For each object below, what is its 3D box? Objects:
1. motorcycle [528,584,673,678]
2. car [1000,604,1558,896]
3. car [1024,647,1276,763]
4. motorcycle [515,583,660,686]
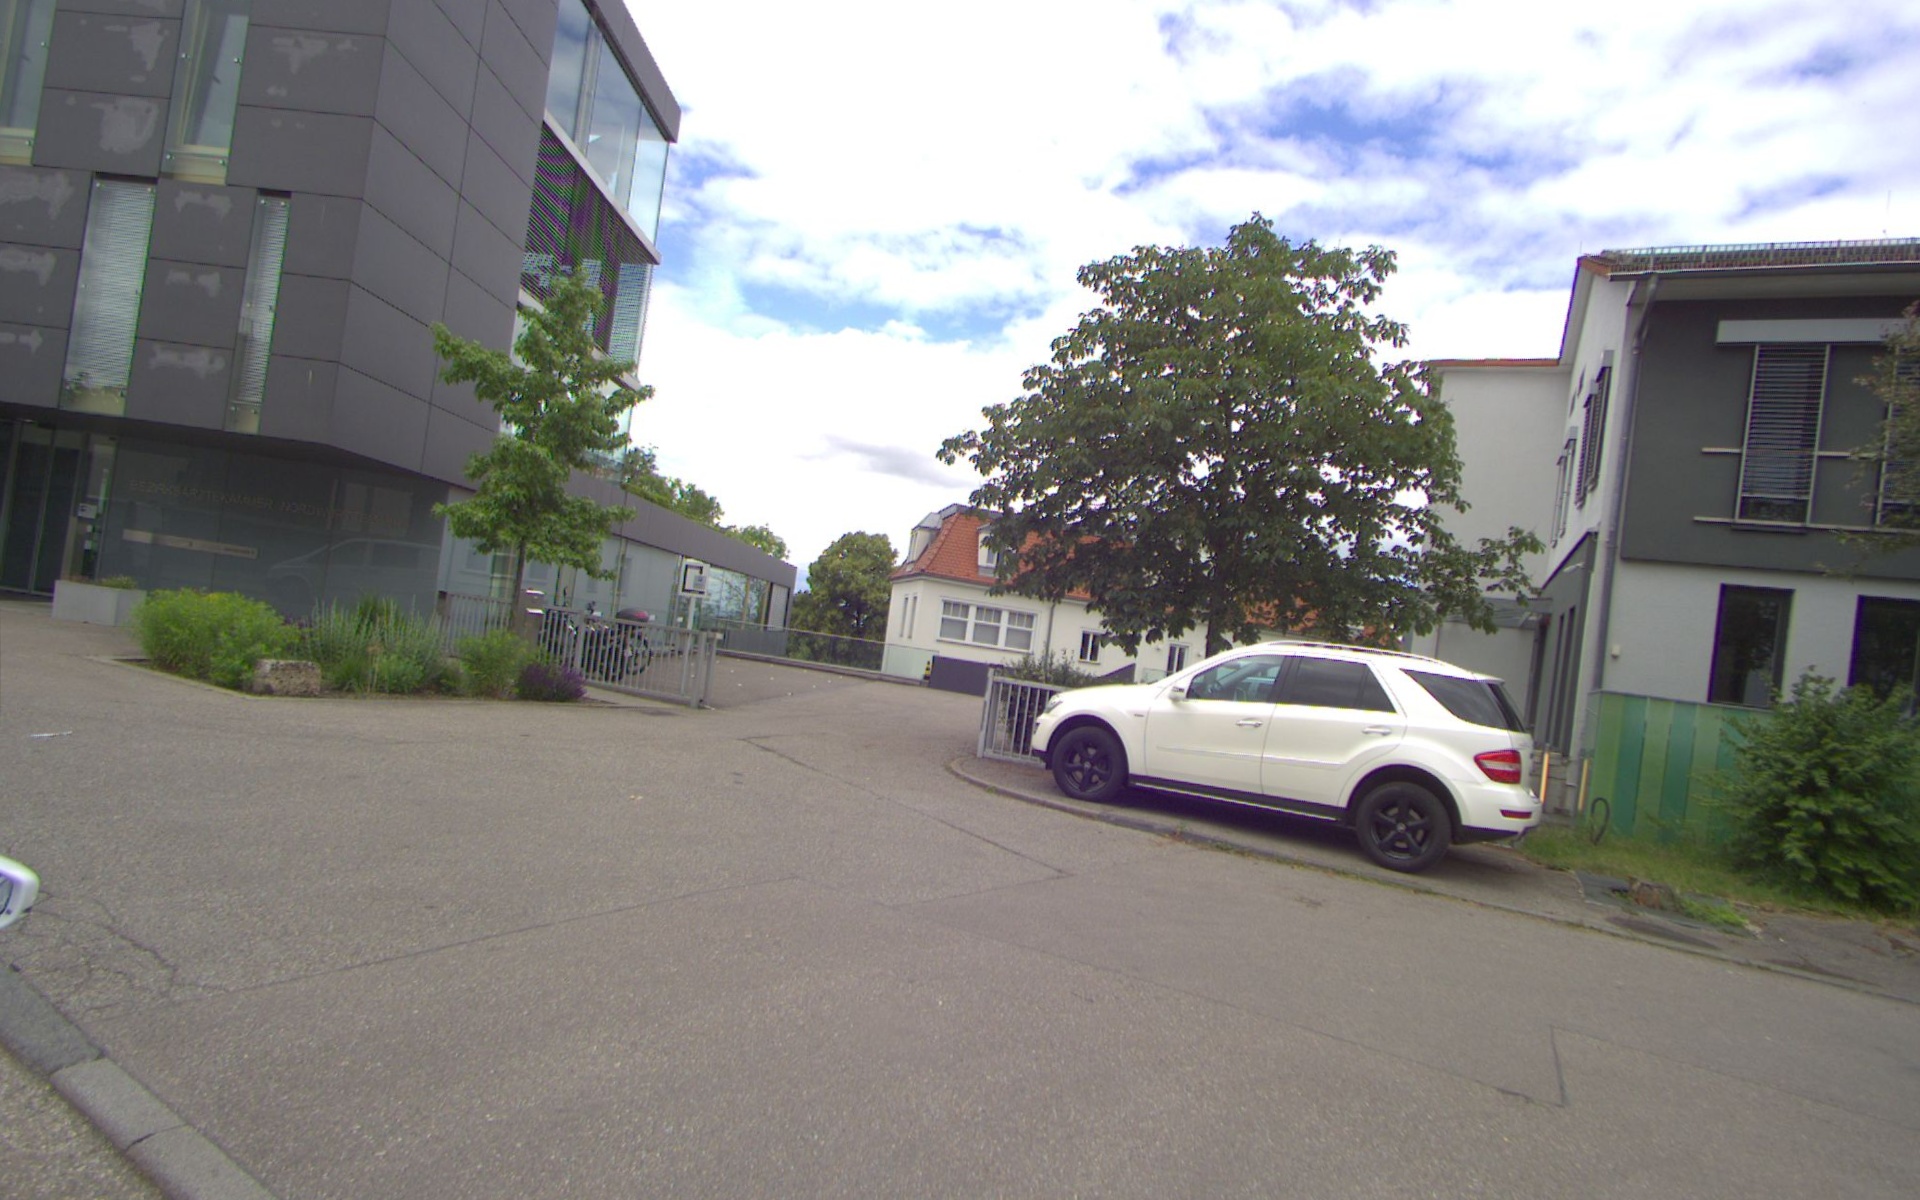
[{"bbox_3d":[-6.680,0.569,18.718,2.416,1.409,0.671,7,-1,13],"label":"motorcycle"},{"bbox_3d":[2.943,1.240,9.662,4.643,1.778,1.856,7,-2,31],"label":"car"},{"bbox_3d":[3.447,1.866,18.359,4.142,1.501,1.621,5,-2,25],"label":"car"},{"bbox_3d":[-6.196,0.568,16.742,2.084,1.409,0.671,7,-1,13],"label":"motorcycle"}]
